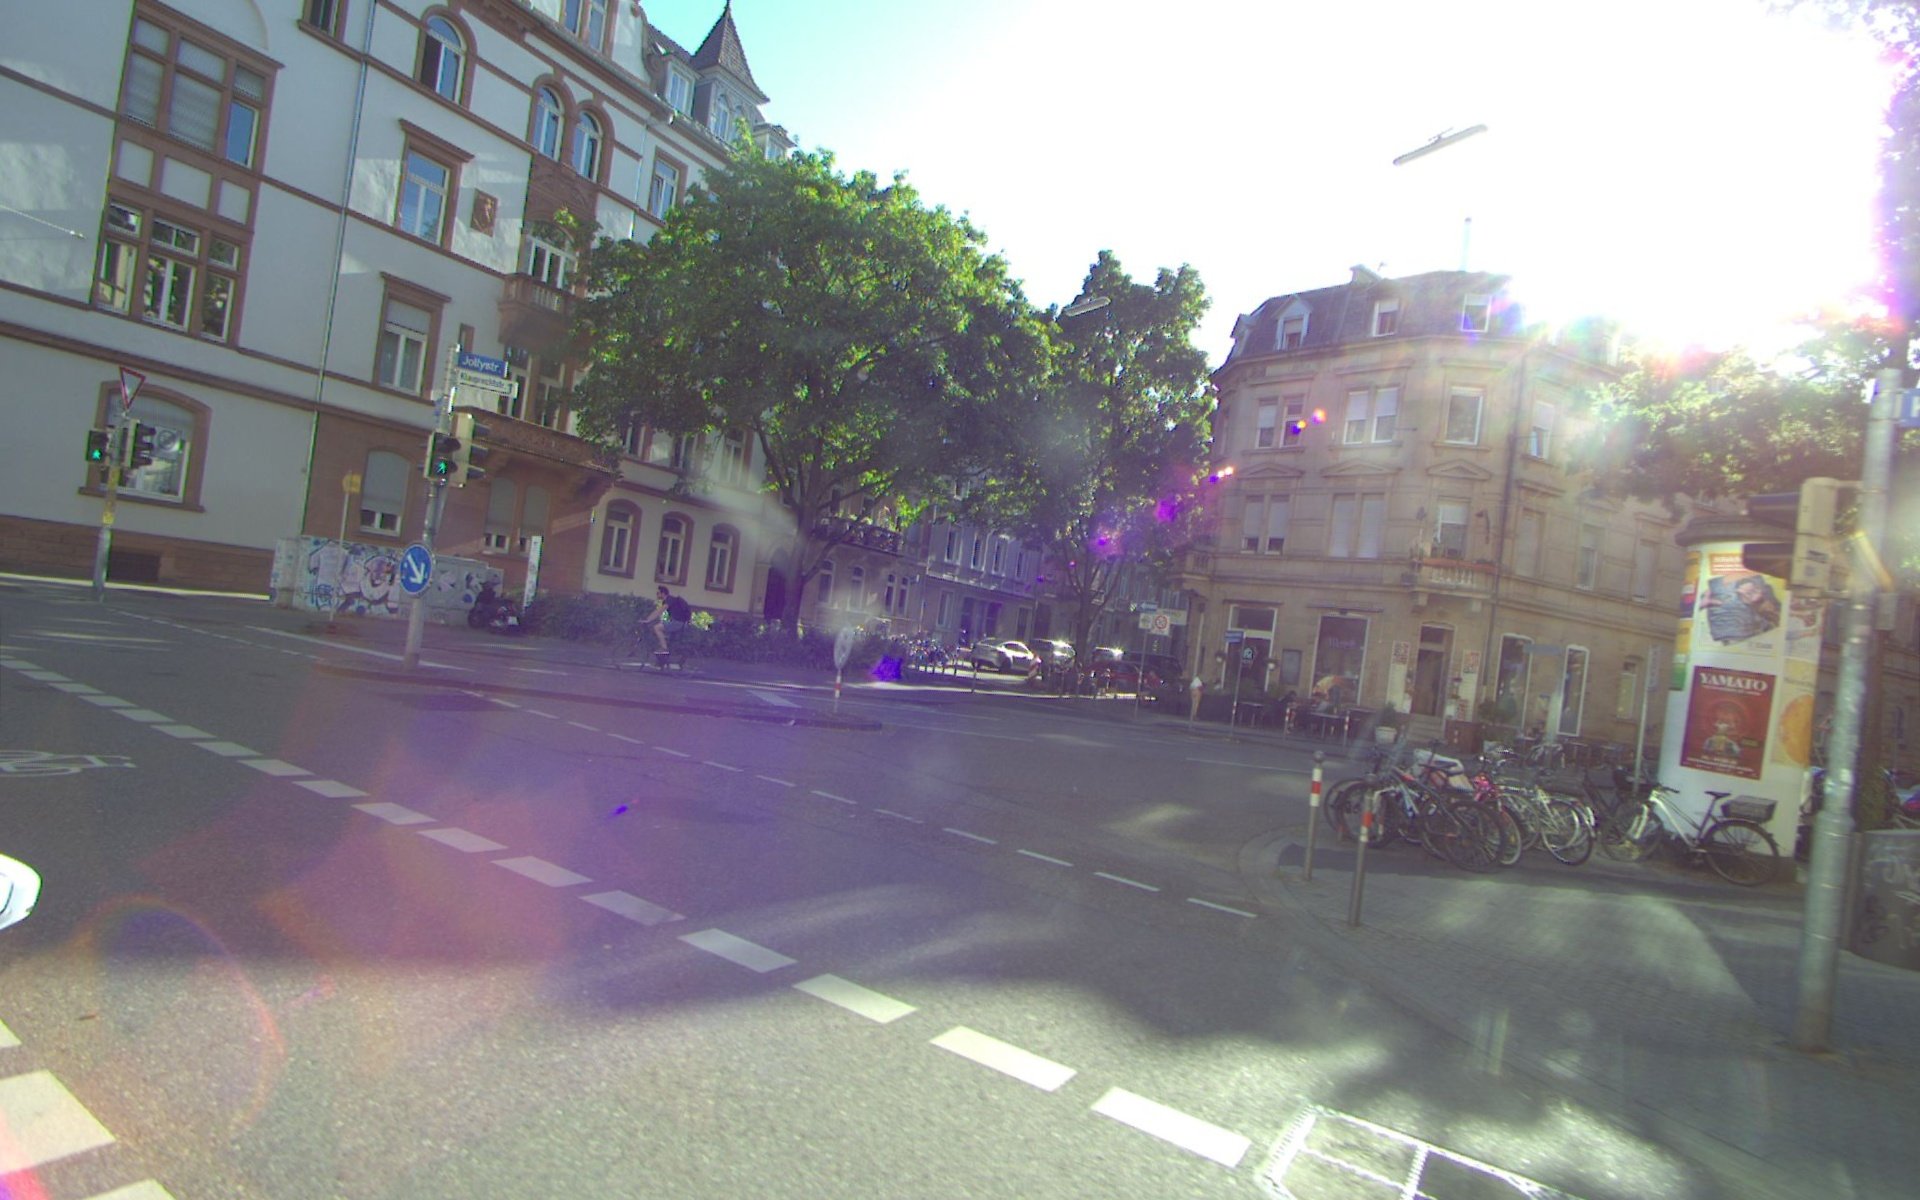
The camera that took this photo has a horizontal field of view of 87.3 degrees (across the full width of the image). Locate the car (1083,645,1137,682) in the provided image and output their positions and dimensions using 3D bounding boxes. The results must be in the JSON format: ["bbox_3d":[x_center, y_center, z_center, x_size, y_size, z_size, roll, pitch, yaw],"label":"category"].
[{"bbox_3d":[9.306,3.949,62.309,1.713,1.884,3.995,10,0,31],"label":"car"}]

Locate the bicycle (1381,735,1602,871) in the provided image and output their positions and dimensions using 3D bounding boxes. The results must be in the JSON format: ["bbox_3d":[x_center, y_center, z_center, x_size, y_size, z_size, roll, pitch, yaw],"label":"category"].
[{"bbox_3d":[5.979,2.257,11.452,0.613,1.155,2.101,8,-4,-36],"label":"bicycle"}]

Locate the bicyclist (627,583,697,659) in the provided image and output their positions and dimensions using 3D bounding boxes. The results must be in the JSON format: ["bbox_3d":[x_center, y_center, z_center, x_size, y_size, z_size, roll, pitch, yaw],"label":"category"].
[{"bbox_3d":[-6.028,0.420,20.325,1.121,1.359,0.833,8,-1,-24],"label":"bicyclist"}]

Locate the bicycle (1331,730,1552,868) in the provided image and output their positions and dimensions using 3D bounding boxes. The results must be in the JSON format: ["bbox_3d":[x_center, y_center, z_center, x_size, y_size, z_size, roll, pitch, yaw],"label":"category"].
[{"bbox_3d":[5.277,2.152,11.164,0.613,1.155,2.101,8,-4,-36],"label":"bicycle"}]

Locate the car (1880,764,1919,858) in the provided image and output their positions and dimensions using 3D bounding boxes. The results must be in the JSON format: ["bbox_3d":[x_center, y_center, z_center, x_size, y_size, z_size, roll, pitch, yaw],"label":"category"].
[{"bbox_3d":[16.621,3.528,14.894,1.805,1.387,3.972,9,-2,-28],"label":"car"}]

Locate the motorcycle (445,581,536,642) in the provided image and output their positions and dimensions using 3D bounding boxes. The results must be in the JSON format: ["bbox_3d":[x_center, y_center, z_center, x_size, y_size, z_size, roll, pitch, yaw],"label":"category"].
[{"bbox_3d":[-11.002,0.263,23.551,2.350,1.138,0.612,7,-1,31],"label":"motorcycle"}]

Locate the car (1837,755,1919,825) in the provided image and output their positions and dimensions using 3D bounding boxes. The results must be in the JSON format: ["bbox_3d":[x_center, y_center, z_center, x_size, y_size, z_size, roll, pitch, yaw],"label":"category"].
[{"bbox_3d":[27.787,5.609,28.891,4.186,1.623,1.840,8,-2,-15],"label":"car"}]

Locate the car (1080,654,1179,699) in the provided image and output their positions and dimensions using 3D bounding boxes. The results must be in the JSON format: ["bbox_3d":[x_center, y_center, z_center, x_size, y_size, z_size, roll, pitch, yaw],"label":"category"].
[{"bbox_3d":[7.471,3.366,44.748,4.099,1.450,1.638,6,0,5],"label":"car"}]

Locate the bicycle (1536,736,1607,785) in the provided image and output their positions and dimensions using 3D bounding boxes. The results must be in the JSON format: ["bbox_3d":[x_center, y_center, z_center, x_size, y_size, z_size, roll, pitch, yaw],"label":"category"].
[{"bbox_3d":[15.882,4.176,26.122,1.852,1.055,0.396,8,-1,-19],"label":"bicycle"}]

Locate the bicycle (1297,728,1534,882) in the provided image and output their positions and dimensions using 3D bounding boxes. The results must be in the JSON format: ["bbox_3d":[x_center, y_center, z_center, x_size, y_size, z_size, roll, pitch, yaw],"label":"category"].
[{"bbox_3d":[4.588,2.034,10.295,0.613,1.155,2.101,8,-3,-36],"label":"bicycle"}]

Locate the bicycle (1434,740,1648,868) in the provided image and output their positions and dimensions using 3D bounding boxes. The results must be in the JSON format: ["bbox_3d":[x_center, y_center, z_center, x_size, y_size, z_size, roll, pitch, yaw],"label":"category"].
[{"bbox_3d":[6.936,2.405,12.127,0.613,1.155,2.101,8,-4,-36],"label":"bicycle"}]

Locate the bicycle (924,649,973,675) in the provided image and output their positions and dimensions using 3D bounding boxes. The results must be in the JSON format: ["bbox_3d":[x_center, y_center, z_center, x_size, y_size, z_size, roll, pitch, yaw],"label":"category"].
[{"bbox_3d":[-0.537,2.871,46.525,2.022,0.740,1.014,11,1,38],"label":"bicycle"}]

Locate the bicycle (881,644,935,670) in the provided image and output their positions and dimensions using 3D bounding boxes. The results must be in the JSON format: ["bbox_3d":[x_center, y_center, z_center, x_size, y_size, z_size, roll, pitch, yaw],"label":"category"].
[{"bbox_3d":[-2.270,2.467,43.542,2.127,0.658,1.014,11,1,38],"label":"bicycle"}]

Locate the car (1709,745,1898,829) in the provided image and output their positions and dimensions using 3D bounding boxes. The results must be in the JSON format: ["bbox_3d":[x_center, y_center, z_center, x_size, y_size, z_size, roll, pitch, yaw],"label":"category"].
[{"bbox_3d":[23.144,5.125,27.647,4.185,1.623,1.841,8,-3,-15],"label":"car"}]

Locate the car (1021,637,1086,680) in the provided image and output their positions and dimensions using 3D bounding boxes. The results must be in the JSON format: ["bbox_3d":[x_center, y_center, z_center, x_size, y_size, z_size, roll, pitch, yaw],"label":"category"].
[{"bbox_3d":[5.120,3.228,54.758,1.611,1.884,3.994,10,0,33],"label":"car"}]

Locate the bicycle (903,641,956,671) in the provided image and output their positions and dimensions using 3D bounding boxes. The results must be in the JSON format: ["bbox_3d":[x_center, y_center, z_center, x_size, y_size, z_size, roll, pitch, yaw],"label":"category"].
[{"bbox_3d":[-1.388,2.511,45.295,2.127,0.898,1.014,11,1,38],"label":"bicycle"}]

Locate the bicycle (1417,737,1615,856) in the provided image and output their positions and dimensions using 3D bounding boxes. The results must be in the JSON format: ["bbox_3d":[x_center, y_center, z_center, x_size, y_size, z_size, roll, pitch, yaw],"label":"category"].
[{"bbox_3d":[7.084,2.478,12.928,0.613,1.155,2.101,8,-4,-36],"label":"bicycle"}]

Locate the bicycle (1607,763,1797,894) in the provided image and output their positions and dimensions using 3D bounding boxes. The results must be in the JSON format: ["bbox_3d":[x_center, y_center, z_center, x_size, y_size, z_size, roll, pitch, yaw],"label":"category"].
[{"bbox_3d":[8.415,2.559,11.471,0.539,1.155,1.603,8,-4,-36],"label":"bicycle"}]

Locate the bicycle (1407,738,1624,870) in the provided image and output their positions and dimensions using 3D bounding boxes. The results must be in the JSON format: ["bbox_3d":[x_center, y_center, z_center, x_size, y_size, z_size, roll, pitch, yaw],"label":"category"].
[{"bbox_3d":[6.433,2.332,11.775,0.613,1.155,2.101,8,-4,-36],"label":"bicycle"}]

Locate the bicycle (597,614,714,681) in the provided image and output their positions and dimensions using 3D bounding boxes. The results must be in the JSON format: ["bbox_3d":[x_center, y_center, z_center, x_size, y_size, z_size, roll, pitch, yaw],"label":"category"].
[{"bbox_3d":[-6.134,0.967,20.299,2.071,1.057,0.843,9,-1,-24],"label":"bicycle"}]

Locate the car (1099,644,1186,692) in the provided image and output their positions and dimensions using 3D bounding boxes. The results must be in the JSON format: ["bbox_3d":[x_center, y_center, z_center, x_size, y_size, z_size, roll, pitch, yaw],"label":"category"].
[{"bbox_3d":[9.059,3.367,50.200,3.924,1.885,1.638,6,0,5],"label":"car"}]

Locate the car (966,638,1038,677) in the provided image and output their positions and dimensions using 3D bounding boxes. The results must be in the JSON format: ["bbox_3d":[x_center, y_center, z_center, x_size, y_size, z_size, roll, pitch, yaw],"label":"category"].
[{"bbox_3d":[2.128,2.883,49.842,1.537,1.445,3.799,10,0,36],"label":"car"}]

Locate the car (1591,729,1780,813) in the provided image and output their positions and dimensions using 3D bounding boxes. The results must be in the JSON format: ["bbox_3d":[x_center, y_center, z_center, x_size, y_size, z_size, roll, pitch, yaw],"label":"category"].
[{"bbox_3d":[18.305,4.315,25.388,4.194,1.515,1.837,9,-3,-22],"label":"car"}]

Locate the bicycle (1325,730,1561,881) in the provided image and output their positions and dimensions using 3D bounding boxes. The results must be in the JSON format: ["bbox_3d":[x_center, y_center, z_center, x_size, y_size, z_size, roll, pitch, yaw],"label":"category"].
[{"bbox_3d":[4.982,2.090,10.535,0.613,1.156,2.101,8,-3,-36],"label":"bicycle"}]
